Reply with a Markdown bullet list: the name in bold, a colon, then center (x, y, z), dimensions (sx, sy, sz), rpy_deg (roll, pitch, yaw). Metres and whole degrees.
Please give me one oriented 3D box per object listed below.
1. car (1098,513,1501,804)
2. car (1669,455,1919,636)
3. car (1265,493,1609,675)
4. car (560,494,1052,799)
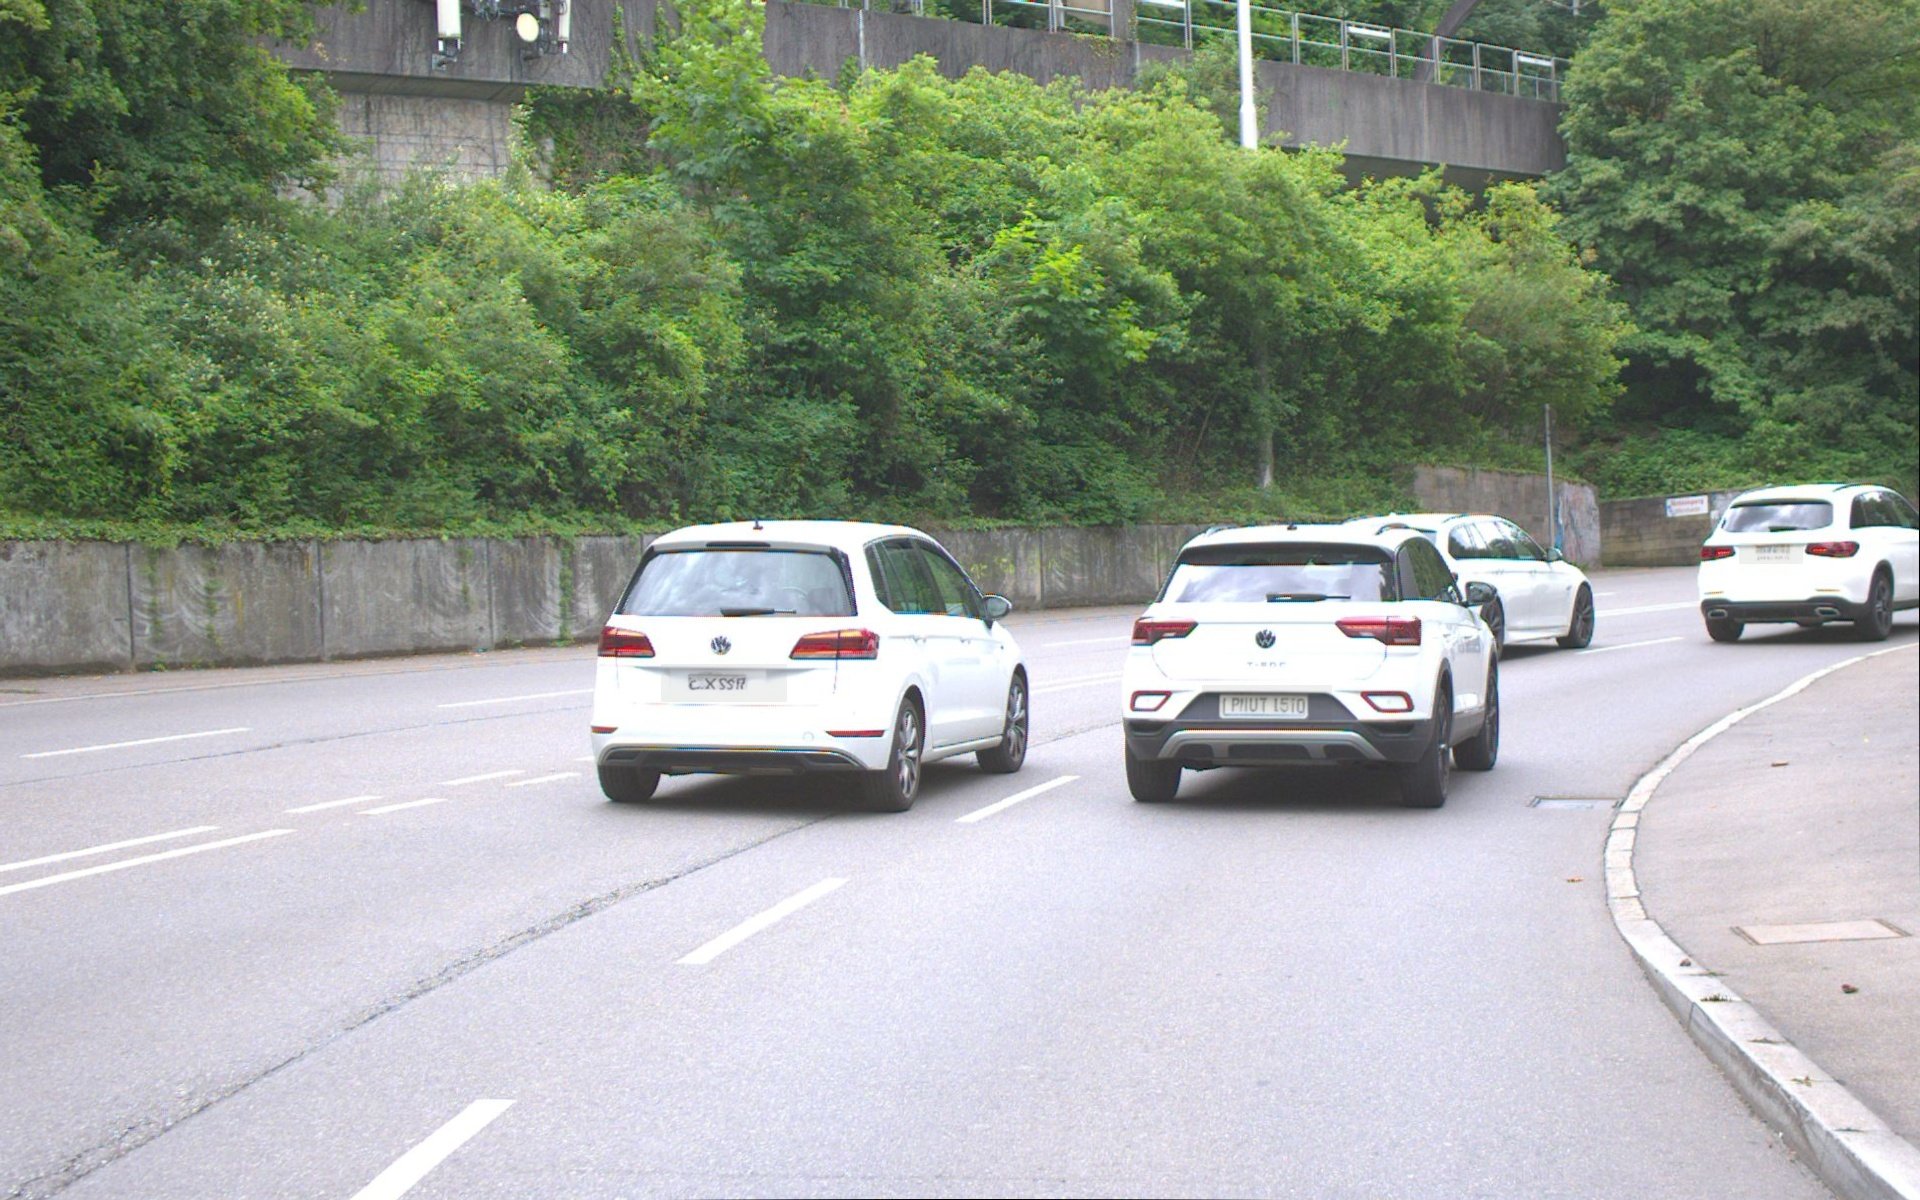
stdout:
- **car**: center (2.107, 0.337, 20.301), dimensions (1.815, 1.534, 4.005), rpy_deg (0, -1, 14)
- **car**: center (9.334, -0.595, 37.153), dimensions (1.997, 1.837, 4.143), rpy_deg (1, 1, 31)
- **car**: center (4.904, -0.226, 34.781), dimensions (1.996, 1.552, 4.674), rpy_deg (3, 4, 27)
- **car**: center (-0.765, 0.284, 20.137), dimensions (1.721, 1.549, 4.272), rpy_deg (2, -1, 13)
